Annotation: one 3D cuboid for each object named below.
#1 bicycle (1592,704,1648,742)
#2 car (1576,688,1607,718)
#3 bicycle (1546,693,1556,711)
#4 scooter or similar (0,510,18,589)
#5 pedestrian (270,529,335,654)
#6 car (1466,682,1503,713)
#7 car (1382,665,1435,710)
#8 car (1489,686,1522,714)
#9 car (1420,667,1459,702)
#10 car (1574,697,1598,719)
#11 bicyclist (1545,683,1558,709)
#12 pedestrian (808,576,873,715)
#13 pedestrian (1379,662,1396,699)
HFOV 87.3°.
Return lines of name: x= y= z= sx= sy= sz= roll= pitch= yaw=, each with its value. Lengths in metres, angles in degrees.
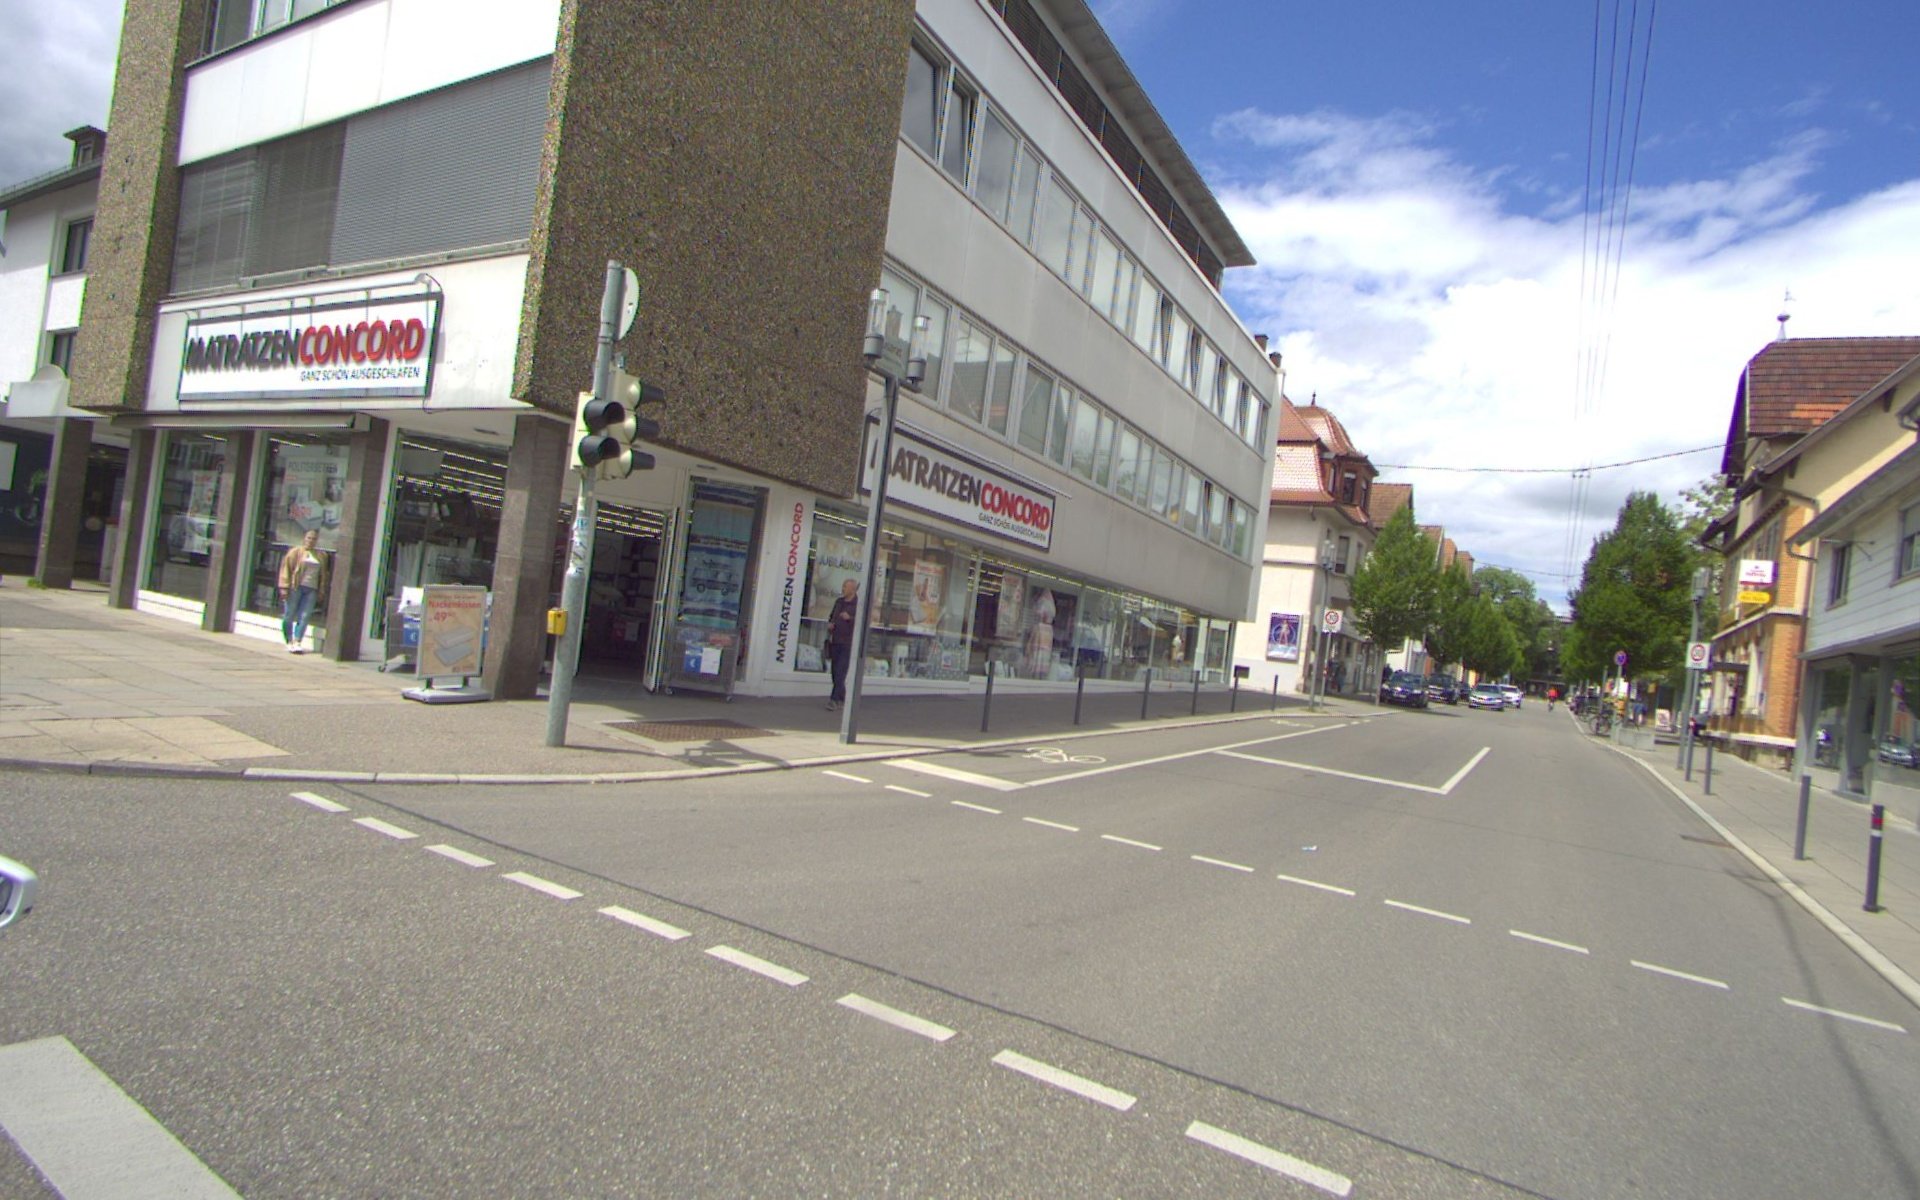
bicycle: x=25.522 y=4.744 z=38.953 sx=1.689 sy=1.234 sz=0.561 roll=5 pitch=-2 yaw=31
car: x=45.095 y=7.375 z=71.905 sx=1.652 sy=1.817 sz=3.812 roll=5 pitch=-3 yaw=32
bicycle: x=43.112 y=7.445 z=73.393 sx=0.552 sy=1.234 sz=1.716 roll=5 pitch=-3 yaw=31
scooter or similar: x=-16.067 y=-0.875 z=16.327 sx=1.222 sy=1.269 sz=0.341 roll=6 pitch=2 yaw=5
pedestrian: x=-8.083 y=-0.106 z=12.368 sx=0.493 sy=1.478 sz=0.502 roll=7 pitch=2 yaw=45
car: x=29.373 y=5.487 z=56.405 sx=1.676 sy=1.413 sz=4.000 roll=6 pitch=-3 yaw=27
car: x=19.933 y=3.917 z=44.602 sx=1.794 sy=1.669 sz=4.000 roll=6 pitch=-3 yaw=27
car: x=37.888 y=6.981 z=69.906 sx=1.794 sy=1.669 sz=4.000 roll=6 pitch=-3 yaw=27
car: x=27.667 y=4.912 z=58.017 sx=1.794 sy=1.669 sz=4.000 roll=6 pitch=-3 yaw=27
car: x=54.941 y=9.500 z=88.371 sx=1.592 sy=1.620 sz=3.676 roll=5 pitch=-3 yaw=32
bicyclist: x=43.189 y=7.026 z=73.406 sx=0.681 sy=1.781 sz=0.944 roll=5 pitch=-2 yaw=31
pedestrian: x=-1.566 y=0.586 z=13.265 sx=0.608 sy=1.728 sz=0.579 roll=6 pitch=2 yaw=-1
pedestrian: x=21.381 y=4.027 z=50.329 sx=0.569 sy=1.728 sz=0.619 roll=7 pitch=2 yaw=21
